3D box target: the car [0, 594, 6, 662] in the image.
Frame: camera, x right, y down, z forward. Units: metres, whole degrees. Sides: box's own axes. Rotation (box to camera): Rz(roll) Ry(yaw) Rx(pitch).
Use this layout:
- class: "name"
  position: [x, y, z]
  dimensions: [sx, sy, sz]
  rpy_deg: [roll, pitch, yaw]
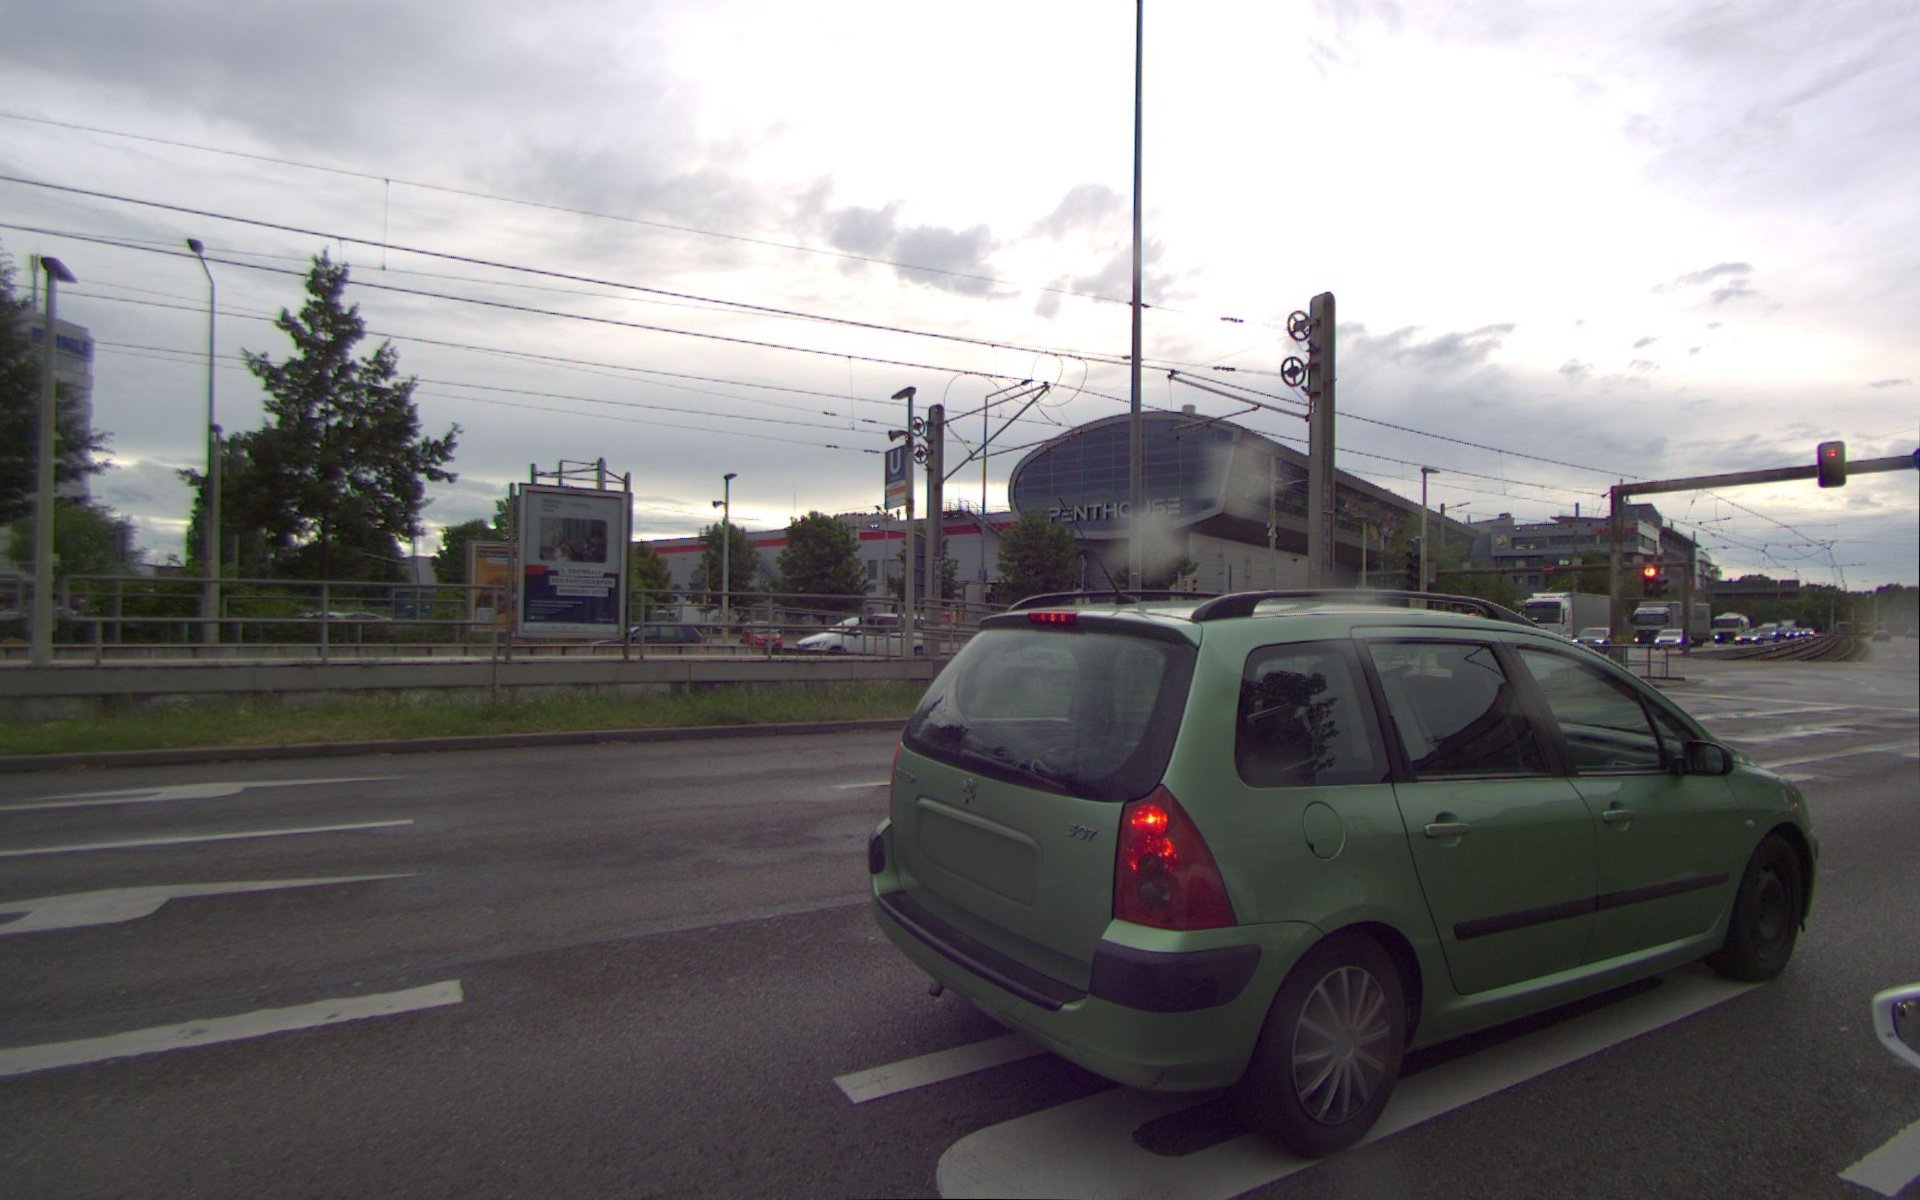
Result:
- class: "car"
  position: [-26.130, 0.641, 23.852]
  dimensions: [4.612, 1.722, 2.094]
  rpy_deg: [3, 0, -30]

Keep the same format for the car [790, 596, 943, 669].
- class: "car"
  position: [-2.812, 1.001, 30.597]
  dimensions: [4.303, 2.040, 1.761]
  rpy_deg: [3, 0, -34]

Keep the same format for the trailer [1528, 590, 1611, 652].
- class: "trailer"
  position: [44.031, 1.548, 72.318]
  dimensions: [2.765, 4.161, 11.375]
  rpy_deg: [-1, -2, 43]

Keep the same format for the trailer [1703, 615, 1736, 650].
- class: "trailer"
  position: [89.555, 3.877, 118.535]
  dimensions: [2.689, 3.905, 11.194]
  rpy_deg: [-1, -3, 35]

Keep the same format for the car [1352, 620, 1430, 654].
- class: "car"
  position: [21.536, 1.859, 50.152]
  dimensions: [3.961, 1.522, 1.775]
  rpy_deg: [3, 0, -35]

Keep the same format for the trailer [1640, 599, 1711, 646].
- class: "trailer"
  position: [68.197, 2.247, 95.597]
  dimensions: [12.647, 4.179, 2.627]
  rpy_deg: [3, -3, -41]

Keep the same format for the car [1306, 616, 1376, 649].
- class: "car"
  position: [20.611, 1.775, 54.272]
  dimensions: [4.044, 1.648, 1.560]
  rpy_deg: [2, 0, -37]

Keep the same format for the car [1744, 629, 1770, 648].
- class: "car"
  position: [92.677, 4.447, 116.801]
  dimensions: [1.971, 1.862, 4.882]
  rpy_deg: [4, 3, 41]

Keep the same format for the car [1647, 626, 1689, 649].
- class: "car"
  position: [56.221, 2.959, 79.760]
  dimensions: [4.065, 1.674, 1.870]
  rpy_deg: [3, 0, -42]

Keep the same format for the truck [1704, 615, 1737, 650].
- class: "truck"
  position: [86.591, 3.706, 114.441]
  dimensions: [2.710, 3.855, 5.394]
  rpy_deg: [-2, -3, 35]

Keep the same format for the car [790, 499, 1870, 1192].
- class: "car"
  position: [1.698, 0.591, 4.017]
  dimensions: [4.354, 1.488, 1.686]
  rpy_deg: [3, 0, -31]

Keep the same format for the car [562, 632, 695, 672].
- class: "car"
  position: [-10.822, 1.704, 32.894]
  dimensions: [3.891, 1.146, 1.518]
  rpy_deg: [3, 0, -32]

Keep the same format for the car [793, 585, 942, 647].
- class: "car"
  position: [-2.765, 0.488, 30.364]
  dimensions: [4.221, 1.688, 1.520]
  rpy_deg: [3, 0, -32]

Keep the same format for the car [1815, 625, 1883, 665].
- class: "car"
  position: [48.986, 2.435, 55.326]
  dimensions: [4.302, 2.040, 1.762]
  rpy_deg: [1, 1, -34]

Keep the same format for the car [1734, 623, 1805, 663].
- class: "car"
  position: [43.721, 2.282, 54.202]
  dimensions: [4.302, 2.041, 1.762]
  rpy_deg: [1, 1, -34]

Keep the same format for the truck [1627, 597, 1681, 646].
- class: "truck"
  position: [62.773, 1.988, 90.809]
  dimensions: [6.138, 4.184, 2.643]
  rpy_deg: [3, -2, -41]

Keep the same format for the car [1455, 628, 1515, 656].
- class: "car"
  position: [29.714, 2.370, 56.833]
  dimensions: [4.124, 1.481, 1.722]
  rpy_deg: [3, 0, -43]

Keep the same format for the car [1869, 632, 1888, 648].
- class: "car"
  position: [125.487, 5.423, 137.205]
  dimensions: [1.754, 2.040, 4.321]
  rpy_deg: [3, 0, 44]

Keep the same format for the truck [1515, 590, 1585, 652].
- class: "truck"
  position: [40.156, 1.431, 68.259]
  dimensions: [2.802, 4.049, 5.950]
  rpy_deg: [-1, -2, 44]

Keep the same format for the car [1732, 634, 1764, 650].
- class: "car"
  position: [80.762, 4.302, 102.934]
  dimensions: [4.534, 1.576, 1.885]
  rpy_deg: [2, 0, -43]

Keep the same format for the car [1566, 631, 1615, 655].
- class: "car"
  position: [39.484, 2.642, 62.853]
  dimensions: [1.886, 1.281, 4.391]
  rpy_deg: [3, 1, 41]

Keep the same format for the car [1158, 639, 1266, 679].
- class: "car"
  position: [10.654, 2.471, 42.231]
  dimensions: [4.886, 1.517, 1.665]
  rpy_deg: [3, 0, -37]
